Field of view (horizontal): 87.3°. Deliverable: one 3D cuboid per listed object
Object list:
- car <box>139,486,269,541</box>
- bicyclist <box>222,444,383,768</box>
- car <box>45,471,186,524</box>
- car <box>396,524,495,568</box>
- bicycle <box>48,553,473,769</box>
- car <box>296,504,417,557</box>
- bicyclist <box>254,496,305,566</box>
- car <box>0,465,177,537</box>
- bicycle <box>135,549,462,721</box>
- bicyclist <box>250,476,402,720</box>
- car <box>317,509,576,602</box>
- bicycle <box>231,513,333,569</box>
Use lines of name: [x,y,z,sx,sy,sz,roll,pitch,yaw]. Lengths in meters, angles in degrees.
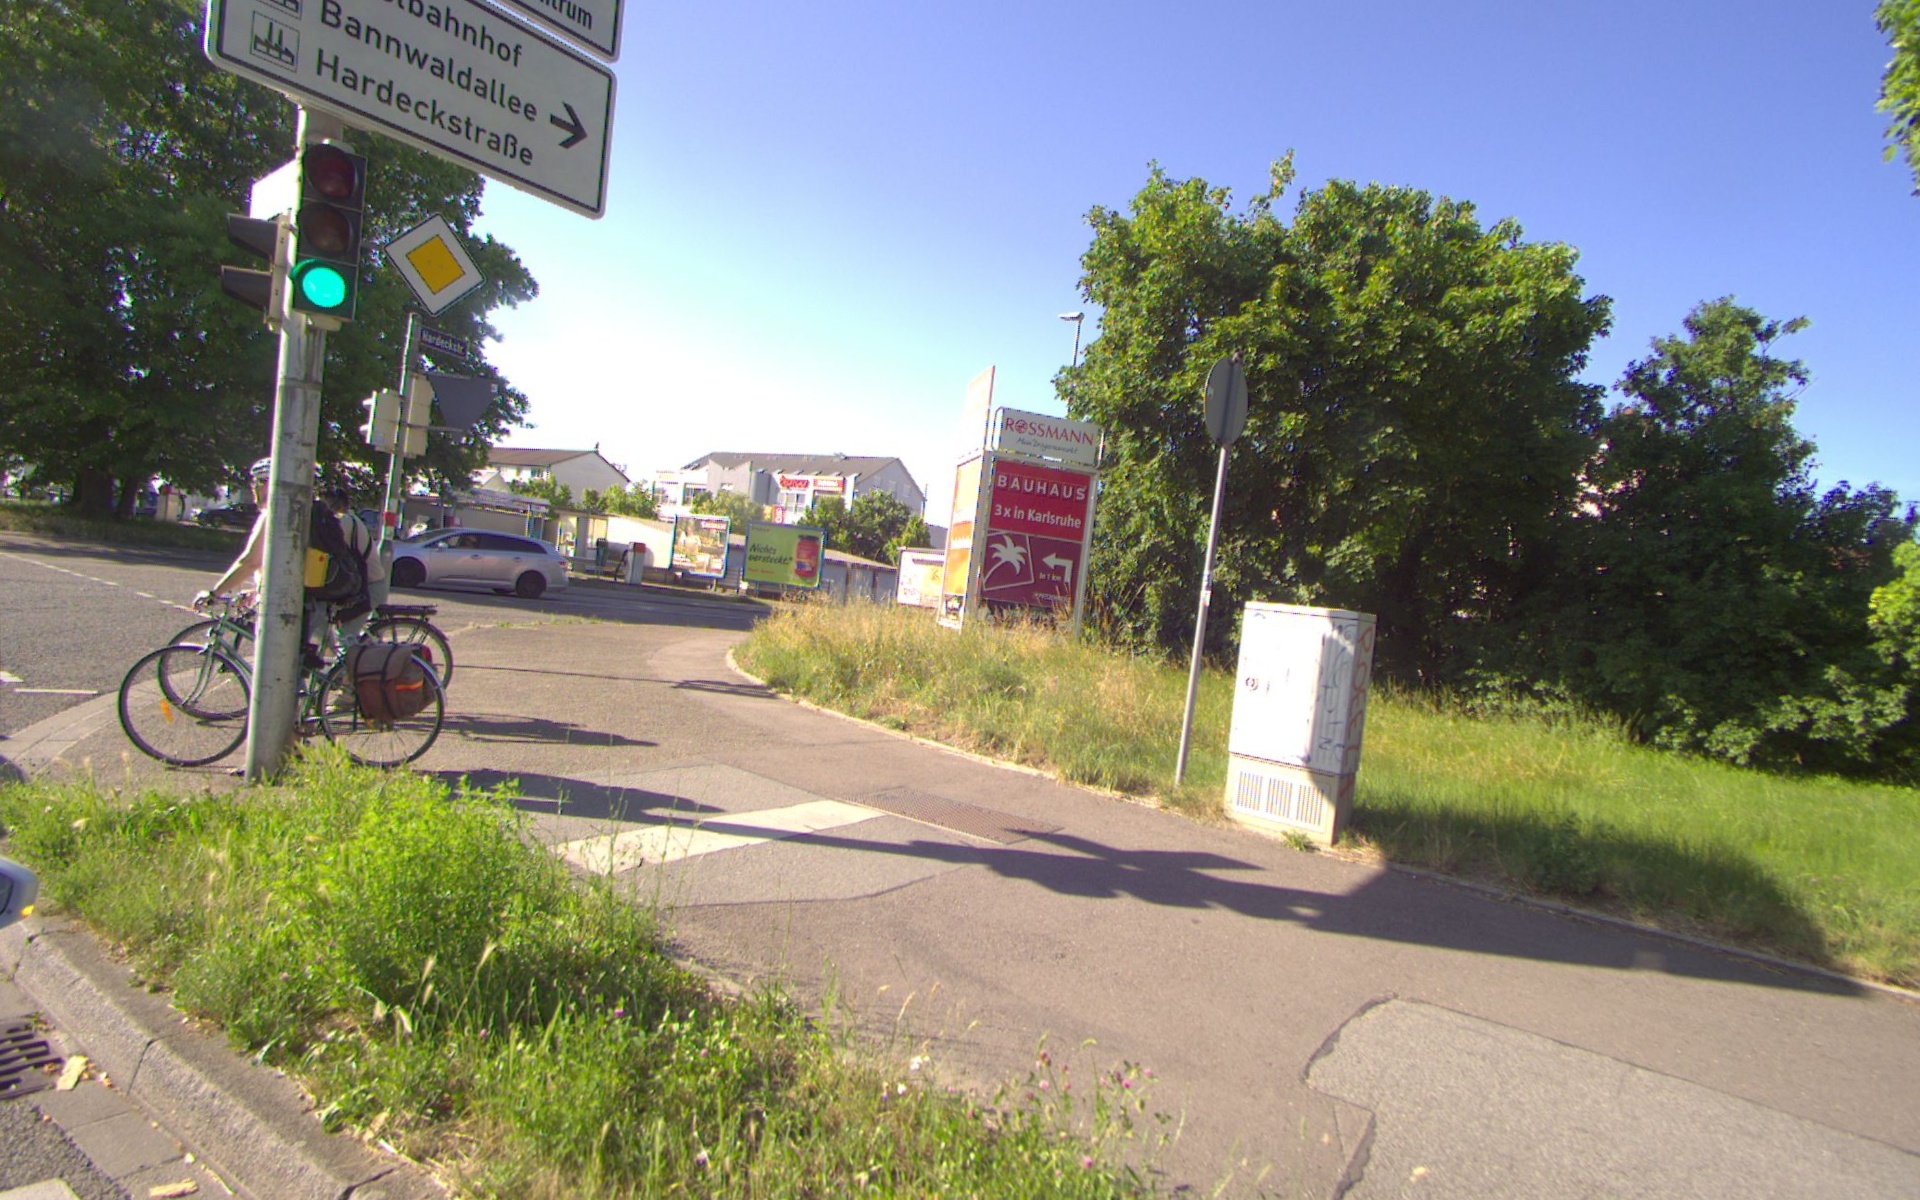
car: [-31.277,-3.540,41.757,1.504,1.529,4.002,7,-2,22]
bicyclist: [-3.689,0.046,5.684,0.576,1.718,0.525,3,1,-18]
car: [-34.714,-4.189,41.489,1.766,1.350,4.003,7,-2,20]
car: [-26.672,-2.773,52.274,1.966,1.625,3.996,7,-2,30]
bicycle: [-3.809,0.357,5.641,1.841,1.090,0.529,3,1,-19]
car: [-23.194,-2.629,38.836,1.726,1.392,4.005,7,-2,8]
bicyclist: [-17.157,-1.736,25.376,0.534,1.663,0.826,7,2,37]
car: [-38.842,-4.352,44.914,1.966,2.123,5.647,7,-2,31]
bicycle: [-4.656,0.274,7.232,1.844,1.090,0.528,4,0,-24]
bicyclist: [-4.544,0.005,7.260,0.797,1.656,0.540,3,1,-25]
car: [-11.561,-0.966,22.943,1.818,1.507,4.862,6,0,43]
bicycle: [-17.125,-1.466,25.461,0.521,1.156,2.018,7,1,37]
